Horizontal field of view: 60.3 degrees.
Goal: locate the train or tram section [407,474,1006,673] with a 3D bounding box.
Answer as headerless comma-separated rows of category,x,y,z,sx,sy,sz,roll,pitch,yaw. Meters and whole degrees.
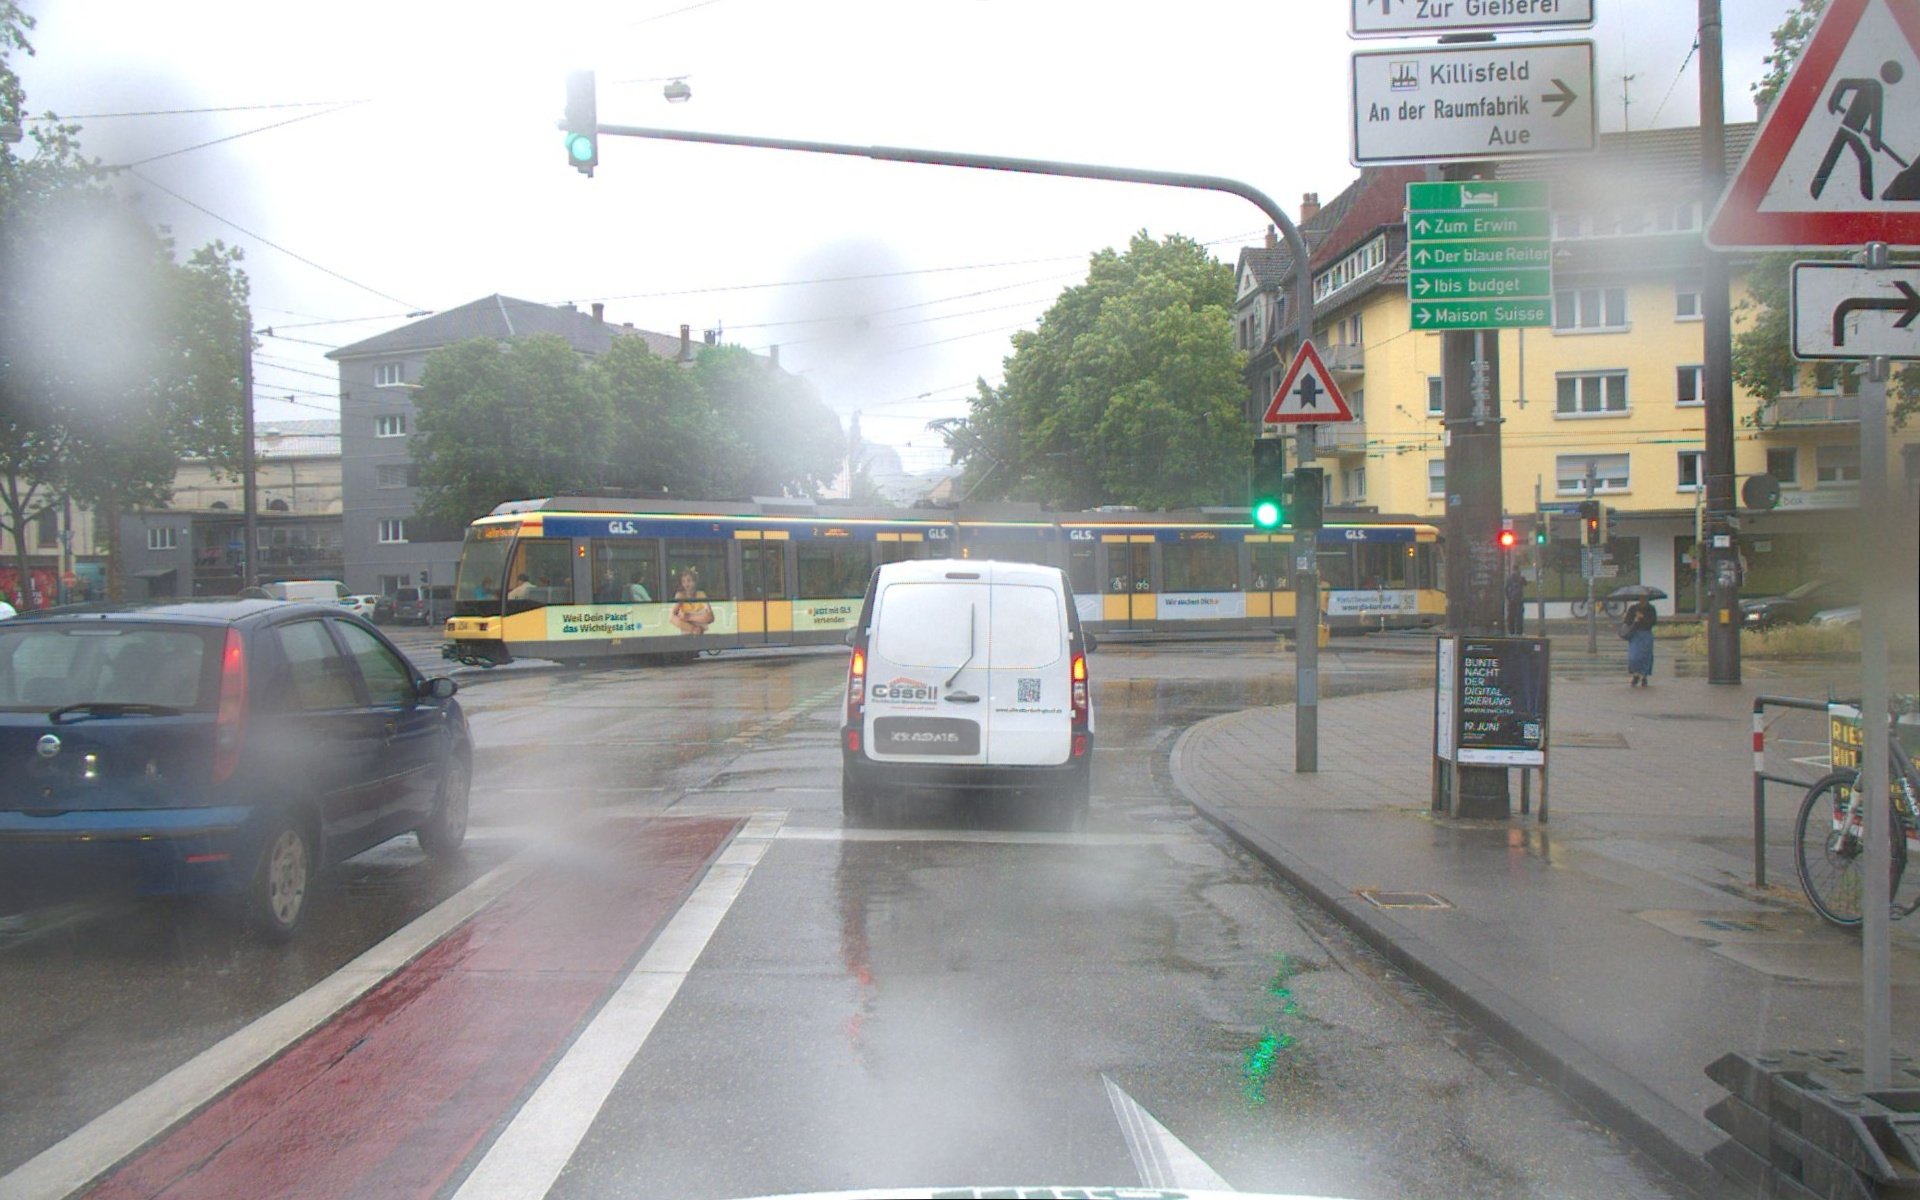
train or tram section,-4.802,-0.610,36.487,3.061,3.620,14.490,1,2,42

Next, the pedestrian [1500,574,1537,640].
pedestrian,14.749,0.169,43.687,0.796,1.706,1.016,0,1,25

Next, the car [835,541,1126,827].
car,0.067,0.544,12.669,1.865,1.828,4.112,0,0,-2

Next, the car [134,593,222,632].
car,-42.952,0.699,90.910,1.956,2.049,3.993,1,0,29

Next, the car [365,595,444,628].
car,-28.989,0.615,86.455,1.909,1.654,4.002,1,0,18

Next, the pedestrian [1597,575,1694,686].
pedestrian,10.758,0.468,25.995,1.080,1.696,0.998,0,1,-1

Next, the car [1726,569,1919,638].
car,20.659,0.074,39.197,4.179,1.528,1.881,-1,1,8

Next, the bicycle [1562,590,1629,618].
bicycle,21.232,0.124,55.293,1.996,0.912,0.614,-1,1,14

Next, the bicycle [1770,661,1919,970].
bicycle,4.127,0.913,7.006,0.413,1.188,1.792,2,1,-2

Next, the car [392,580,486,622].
car,-26.642,0.028,84.694,2.022,2.048,4.391,1,1,29

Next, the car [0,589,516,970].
car,-3.694,0.701,8.367,1.844,1.484,3.832,0,0,0

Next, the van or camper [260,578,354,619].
van or camper,-34.283,-0.085,86.975,1.953,2.111,4.654,0,0,22

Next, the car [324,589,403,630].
car,-31.301,0.471,86.918,1.951,2.048,4.003,0,1,16

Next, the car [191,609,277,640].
car,-39.050,1.334,89.029,1.953,1.642,3.998,0,-1,24

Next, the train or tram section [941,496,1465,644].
train or tram section,6.737,-0.799,44.622,14.419,3.620,3.096,0,1,-22

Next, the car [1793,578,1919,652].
car,20.757,0.308,36.005,4.390,1.515,1.742,-1,1,13

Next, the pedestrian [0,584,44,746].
pedestrian,-9.946,0.665,17.074,0.728,1.638,0.707,-1,1,-39
